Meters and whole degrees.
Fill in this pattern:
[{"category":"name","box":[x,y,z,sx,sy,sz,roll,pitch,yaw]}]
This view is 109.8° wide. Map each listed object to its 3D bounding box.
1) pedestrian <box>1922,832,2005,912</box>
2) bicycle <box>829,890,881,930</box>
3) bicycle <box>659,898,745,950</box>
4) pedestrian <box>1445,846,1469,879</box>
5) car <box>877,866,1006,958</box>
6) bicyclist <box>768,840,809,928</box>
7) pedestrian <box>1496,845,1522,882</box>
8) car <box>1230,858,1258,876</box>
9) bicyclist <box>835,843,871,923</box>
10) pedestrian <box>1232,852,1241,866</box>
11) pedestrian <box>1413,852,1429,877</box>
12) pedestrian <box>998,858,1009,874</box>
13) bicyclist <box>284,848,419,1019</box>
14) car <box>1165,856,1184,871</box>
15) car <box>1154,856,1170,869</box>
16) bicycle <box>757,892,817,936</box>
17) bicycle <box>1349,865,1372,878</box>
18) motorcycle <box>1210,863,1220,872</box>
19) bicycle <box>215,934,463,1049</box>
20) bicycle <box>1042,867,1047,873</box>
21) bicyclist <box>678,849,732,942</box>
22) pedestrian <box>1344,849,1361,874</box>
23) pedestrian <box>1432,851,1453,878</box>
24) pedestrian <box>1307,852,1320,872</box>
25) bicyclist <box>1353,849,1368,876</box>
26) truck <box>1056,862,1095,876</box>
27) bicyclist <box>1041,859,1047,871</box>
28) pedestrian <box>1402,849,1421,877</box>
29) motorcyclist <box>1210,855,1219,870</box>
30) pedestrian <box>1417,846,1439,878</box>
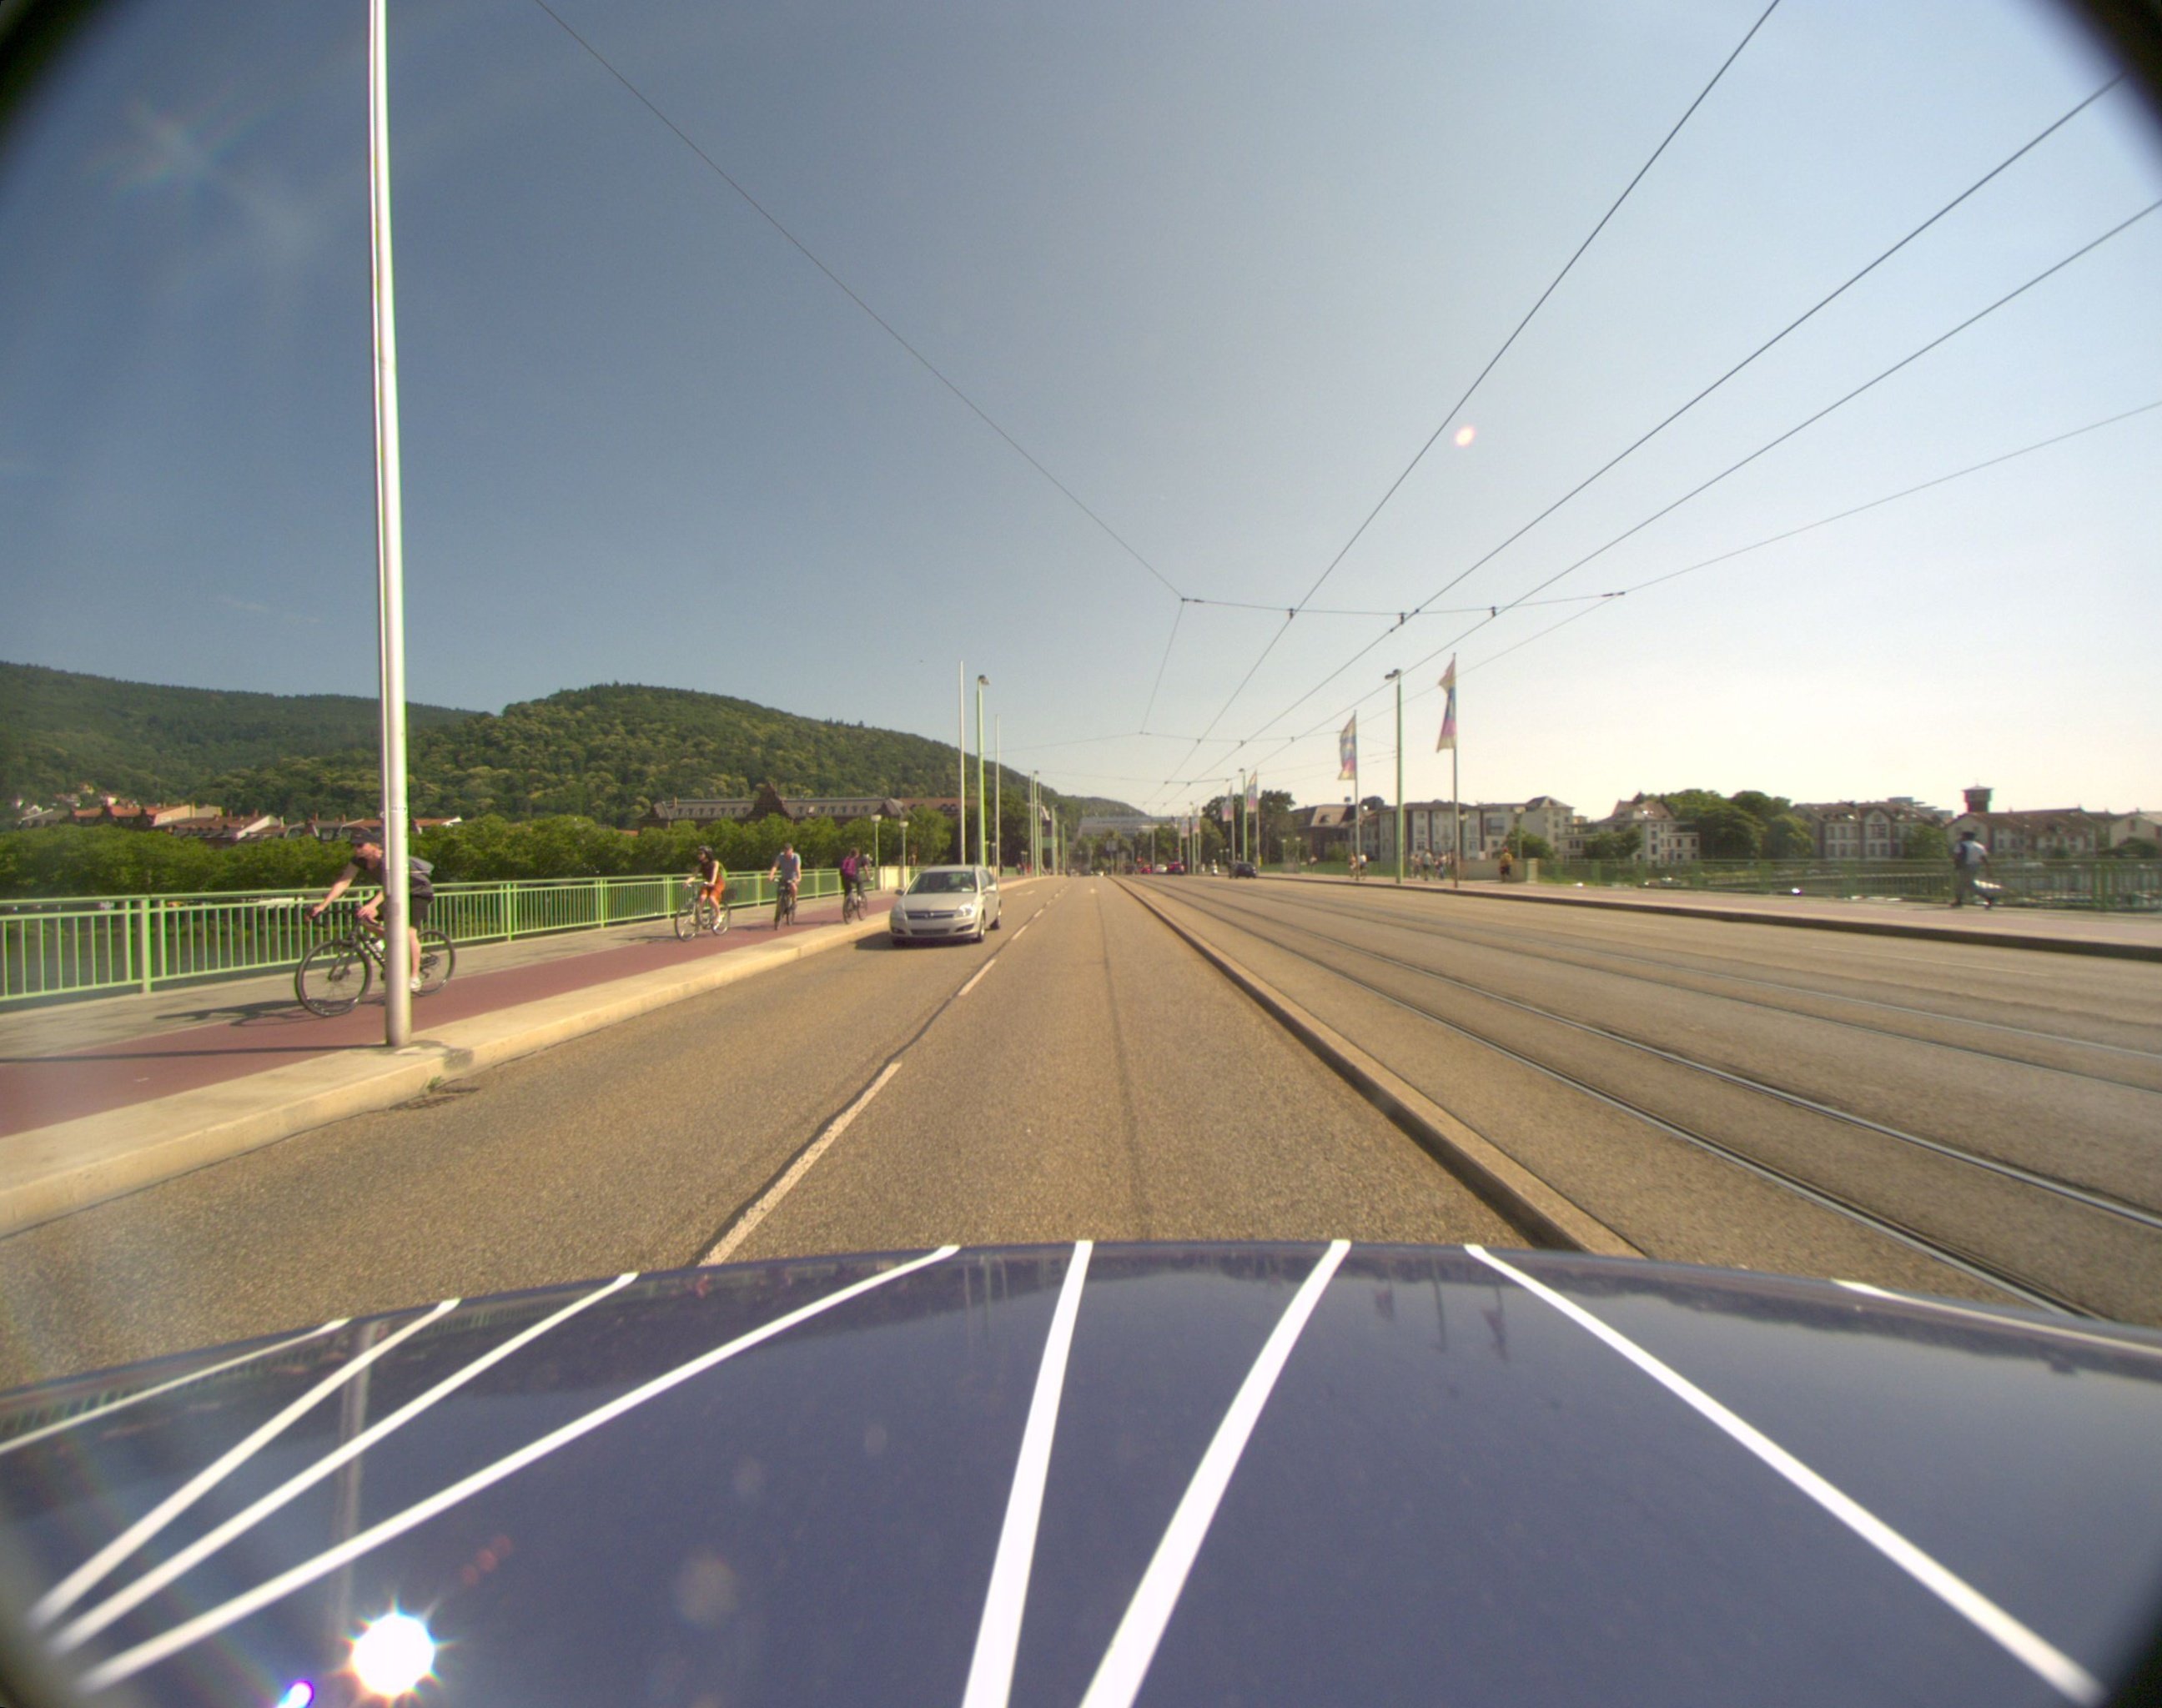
[{"category":"pedestrian","box":[19.599,0.385,16.895,0.592,1.690,1.022,-3,1,1]},{"category":"bicycle","box":[-5.129,1.250,17.353,0.595,0.761,1.866,0,0,1]},{"category":"bicycle","box":[-6.813,1.242,13.760,0.595,0.761,1.866,0,0,1]},{"category":"pedestrian","box":[19.919,0.447,40.278,0.686,1.681,1.022,-3,1,1]},{"category":"car","box":[-2.644,1.046,15.415,1.710,1.457,4.326,-2,0,1]},{"category":"bicyclist","box":[-6.128,0.620,15.957,0.588,1.809,0.702,0,1,-1]},{"category":"pedestrian","box":[19.852,0.438,35.257,0.592,1.690,1.022,-3,1,1]},{"category":"car","box":[13.985,1.128,65.515,1.672,1.428,4.000,0,1,2]},{"category":"bicyclist","box":[-5.138,0.642,17.145,0.587,1.759,0.672,0,1,1]},{"category":"pedestrian","box":[18.411,0.599,89.850,0.787,1.690,1.022,-3,1,1]},{"category":"pedestrian","box":[20.404,0.620,45.609,0.547,1.429,0.789,-3,1,1]},{"category":"pedestrian","box":[-7.839,1.211,76.629,0.950,1.653,1.082,1,0,1]},{"category":"bicyclist","box":[-6.904,0.718,7.226,0.588,1.550,0.702,0,1,-1]},{"category":"car","box":[11.281,1.130,91.654,1.714,1.686,4.000,-5,0,2]},{"category":"car","box":[11.680,1.230,109.884,1.814,1.611,4.000,-5,0,2]},{"category":"bicycle","box":[-6.136,1.232,15.958,0.595,0.761,1.866,0,0,-1]},{"category":"bicycle","box":[17.048,1.054,46.392,0.667,0.712,2.173,-1,0,1]},{"category":"motorcycle","box":[14.279,1.432,81.038,0.735,0.884,2.145,-5,0,1]},{"category":"bicycle","box":[-6.904,1.239,7.229,0.595,0.761,1.831,0,0,-1]},{"category":"bicycle","box":[-5.163,2.253,107.791,0.595,0.761,1.866,0,0,1]},{"category":"bicyclist","box":[-6.805,0.738,13.774,0.606,1.641,0.702,0,1,2]},{"category":"pedestrian","box":[18.976,0.536,53.132,0.787,1.690,1.022,-3,1,1]},{"category":"pedestrian","box":[19.374,0.576,40.698,0.592,1.406,1.022,-3,0,1]},{"category":"pedestrian","box":[20.393,0.709,66.633,0.787,1.690,1.022,-3,1,1]},{"category":"bicyclist","box":[17.038,0.538,46.373,0.666,1.641,0.622,-1,1,2]},{"category":"truck","box":[-1.117,3.056,159.203,7.683,2.248,2.662,-5,0,5]},{"category":"bicyclist","box":[-5.198,1.606,107.354,0.731,1.655,0.844,-1,0,1]},{"category":"pedestrian","box":[19.740,0.540,45.365,0.627,1.590,1.022,-3,1,1]},{"category":"motorcyclist","box":[14.233,0.891,81.072,0.739,1.504,0.729,-5,1,0]},{"category":"pedestrian","box":[18.736,0.438,41.061,0.671,1.690,1.022,-3,1,1]}]
